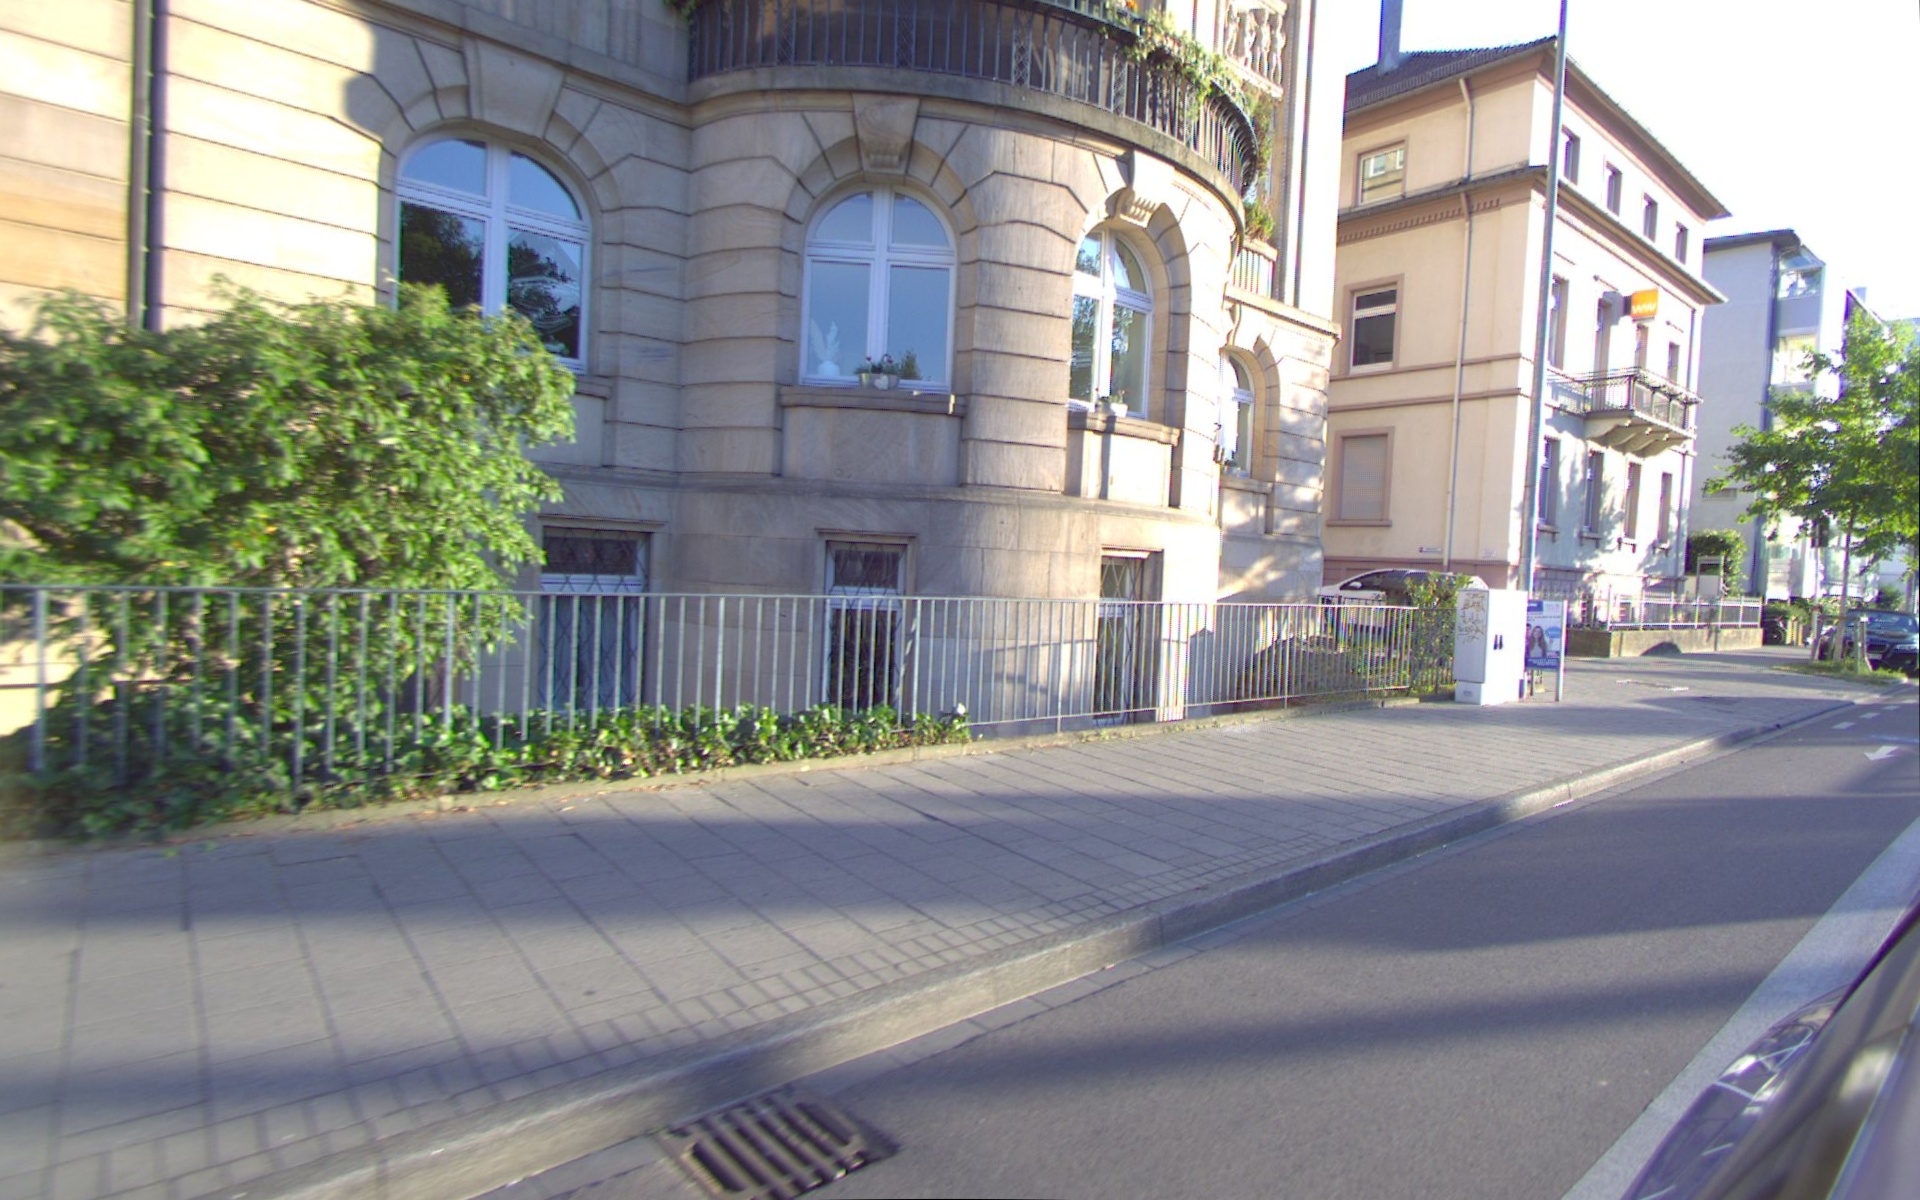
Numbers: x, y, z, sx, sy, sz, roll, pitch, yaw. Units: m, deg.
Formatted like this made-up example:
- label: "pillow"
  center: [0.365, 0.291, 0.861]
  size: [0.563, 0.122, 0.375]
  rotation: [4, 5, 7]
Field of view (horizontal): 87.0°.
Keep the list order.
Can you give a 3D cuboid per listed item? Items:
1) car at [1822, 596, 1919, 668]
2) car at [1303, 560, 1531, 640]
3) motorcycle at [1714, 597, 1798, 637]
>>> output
- label: "car"
  center: [21.090, 0.692, 22.867]
  size: [4.029, 1.420, 1.881]
  rotation: [1, 2, -42]
- label: "car"
  center: [9.892, -0.049, 22.144]
  size: [1.904, 1.499, 4.097]
  rotation: [1, 2, -39]
- label: "motorcycle"
  center: [23.953, 0.494, 30.484]
  size: [0.564, 1.110, 1.851]
  rotation: [1, 2, -34]
